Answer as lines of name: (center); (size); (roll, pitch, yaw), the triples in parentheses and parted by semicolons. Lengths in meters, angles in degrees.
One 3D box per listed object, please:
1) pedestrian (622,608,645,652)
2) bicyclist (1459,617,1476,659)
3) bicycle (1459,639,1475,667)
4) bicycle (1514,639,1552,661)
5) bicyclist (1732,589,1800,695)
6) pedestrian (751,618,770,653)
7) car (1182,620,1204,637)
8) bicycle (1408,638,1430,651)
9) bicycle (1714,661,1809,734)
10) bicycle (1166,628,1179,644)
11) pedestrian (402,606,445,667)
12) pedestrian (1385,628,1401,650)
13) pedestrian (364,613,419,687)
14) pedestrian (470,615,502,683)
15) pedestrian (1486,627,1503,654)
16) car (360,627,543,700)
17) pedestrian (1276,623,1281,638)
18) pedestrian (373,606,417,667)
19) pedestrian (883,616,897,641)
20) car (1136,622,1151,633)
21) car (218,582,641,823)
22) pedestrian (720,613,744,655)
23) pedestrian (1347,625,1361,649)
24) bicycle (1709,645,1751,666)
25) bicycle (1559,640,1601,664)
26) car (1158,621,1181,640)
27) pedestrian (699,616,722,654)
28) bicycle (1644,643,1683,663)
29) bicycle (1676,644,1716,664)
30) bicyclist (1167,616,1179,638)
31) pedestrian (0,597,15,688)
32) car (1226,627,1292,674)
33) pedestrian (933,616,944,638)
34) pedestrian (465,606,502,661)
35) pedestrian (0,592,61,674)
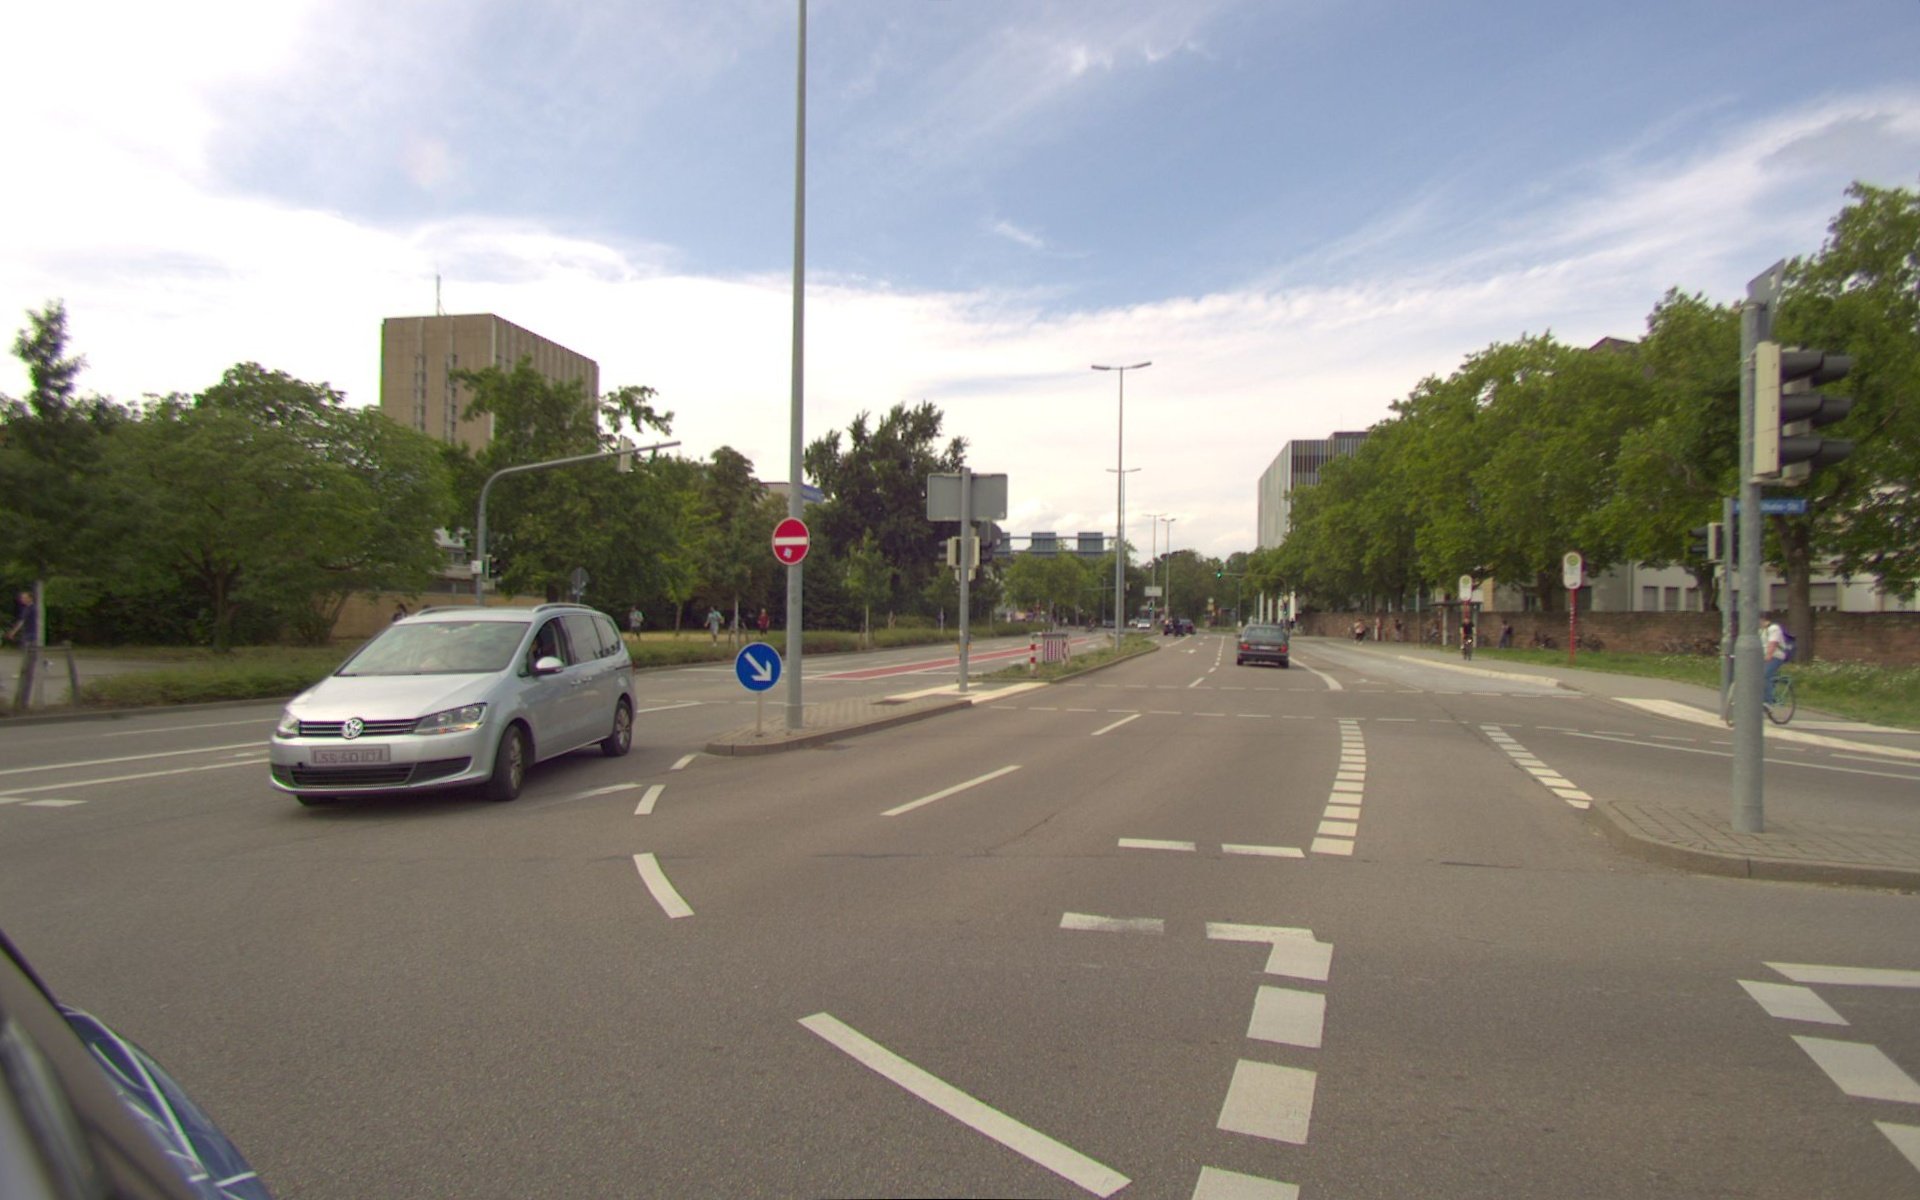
pedestrian: (-12.912, 1.172, 40.002); (0.539, 1.709, 0.692); (2, -1, 11)
bicyclist: (19.692, 1.465, 39.267); (0.577, 1.567, 0.790); (0, 0, 29)
bicycle: (19.700, 2.039, 39.297); (0.503, 0.943, 1.953); (0, 1, 28)
bicycle: (32.937, 2.849, 58.211); (0.747, 1.198, 2.102); (3, -2, -7)
bicyclist: (12.268, 0.622, 15.404); (0.784, 1.567, 0.582); (-1, 0, -32)
pedestrian: (-9.962, 1.774, 50.612); (0.708, 1.724, 0.692); (-2, -1, 15)
car: (22.034, 2.674, 95.844); (1.771, 1.500, 4.116); (2, 0, 11)
bicycle: (32.126, 3.118, 70.861); (0.651, 0.894, 1.578); (-2, -2, -5)
bicycle: (12.186, 1.459, 15.370); (1.938, 0.943, 0.507); (-1, 1, -32)
bicycle: (17.110, 2.892, 81.452); (0.752, 1.198, 2.087); (2, -2, 17)
pedestrian: (-15.434, 1.040, 29.125); (0.828, 1.724, 0.800); (-1, -1, 0)
pedestrian: (32.158, 2.874, 75.155); (0.742, 1.634, 0.668); (0, -2, -26)
pedestrian: (-13.576, 1.180, 24.190); (0.794, 1.724, 0.834); (-2, -1, 20)
pedestrian: (-12.189, 1.248, 26.025); (0.477, 1.724, 0.584); (-2, -1, 20)
pedestrian: (32.453, 2.453, 61.449); (0.559, 1.634, 0.756); (-1, -1, -7)
car: (-11.104, 1.349, 22.333); (1.659, 1.426, 3.434); (-2, -1, 20)
pedestrian: (32.178, 3.099, 102.272); (0.398, 1.468, 0.472); (-1, -1, 9)
pedestrian: (-16.325, 1.058, 29.261); (0.828, 1.724, 0.800); (-1, -1, 0)
pedestrian: (-4.843, 1.970, 69.987); (0.708, 1.724, 0.692); (-2, -1, 15)
car: (26.988, 4.077, 148.882); (1.773, 1.500, 4.111); (2, 0, 14)
car: (-4.644, 0.803, 9.754); (1.799, 1.747, 4.529); (-1, -1, -1)
pedestrian: (-9.657, 1.432, 42.841); (0.728, 1.724, 0.689); (-2, -1, 18)
pedestrian: (27.450, 2.593, 70.541); (0.746, 1.634, 0.664); (-1, -1, 9)
bicycle: (34.740, 2.487, 45.683); (0.353, 0.870, 1.892); (3, -2, -4)
bicycle: (33.291, 2.803, 54.393); (0.747, 1.198, 2.102); (3, -2, -7)
car: (18.727, 2.714, 90.330); (1.773, 1.500, 4.111); (2, 0, 14)
pedestrian: (-11.408, 1.587, 46.286); (0.833, 1.724, 0.692); (-1, -1, 11)
bicycle: (34.317, 2.573, 49.390); (0.353, 0.870, 1.826); (3, -2, -9)
bicycle: (34.567, 2.530, 47.559); (0.353, 0.870, 1.812); (3, -2, -6)
bicyclist: (17.142, 2.202, 81.551); (0.772, 1.724, 1.079); (2, -2, 17)
pedestrian: (-18.805, 0.819, 19.329); (0.833, 1.724, 0.795); (-2, -1, 18)
car: (10.315, 1.707, 35.128); (1.682, 1.491, 4.401); (-1, -1, 10)
pedestrian: (-1.700, 2.131, 80.420); (0.708, 1.724, 0.692); (-2, -1, 15)
pedestrian: (-15.129, 1.059, 32.133); (0.707, 1.724, 0.797); (-1, -1, 11)
pedestrian: (-20.049, 0.713, 21.731); (0.833, 1.724, 0.795); (-2, -1, 18)
